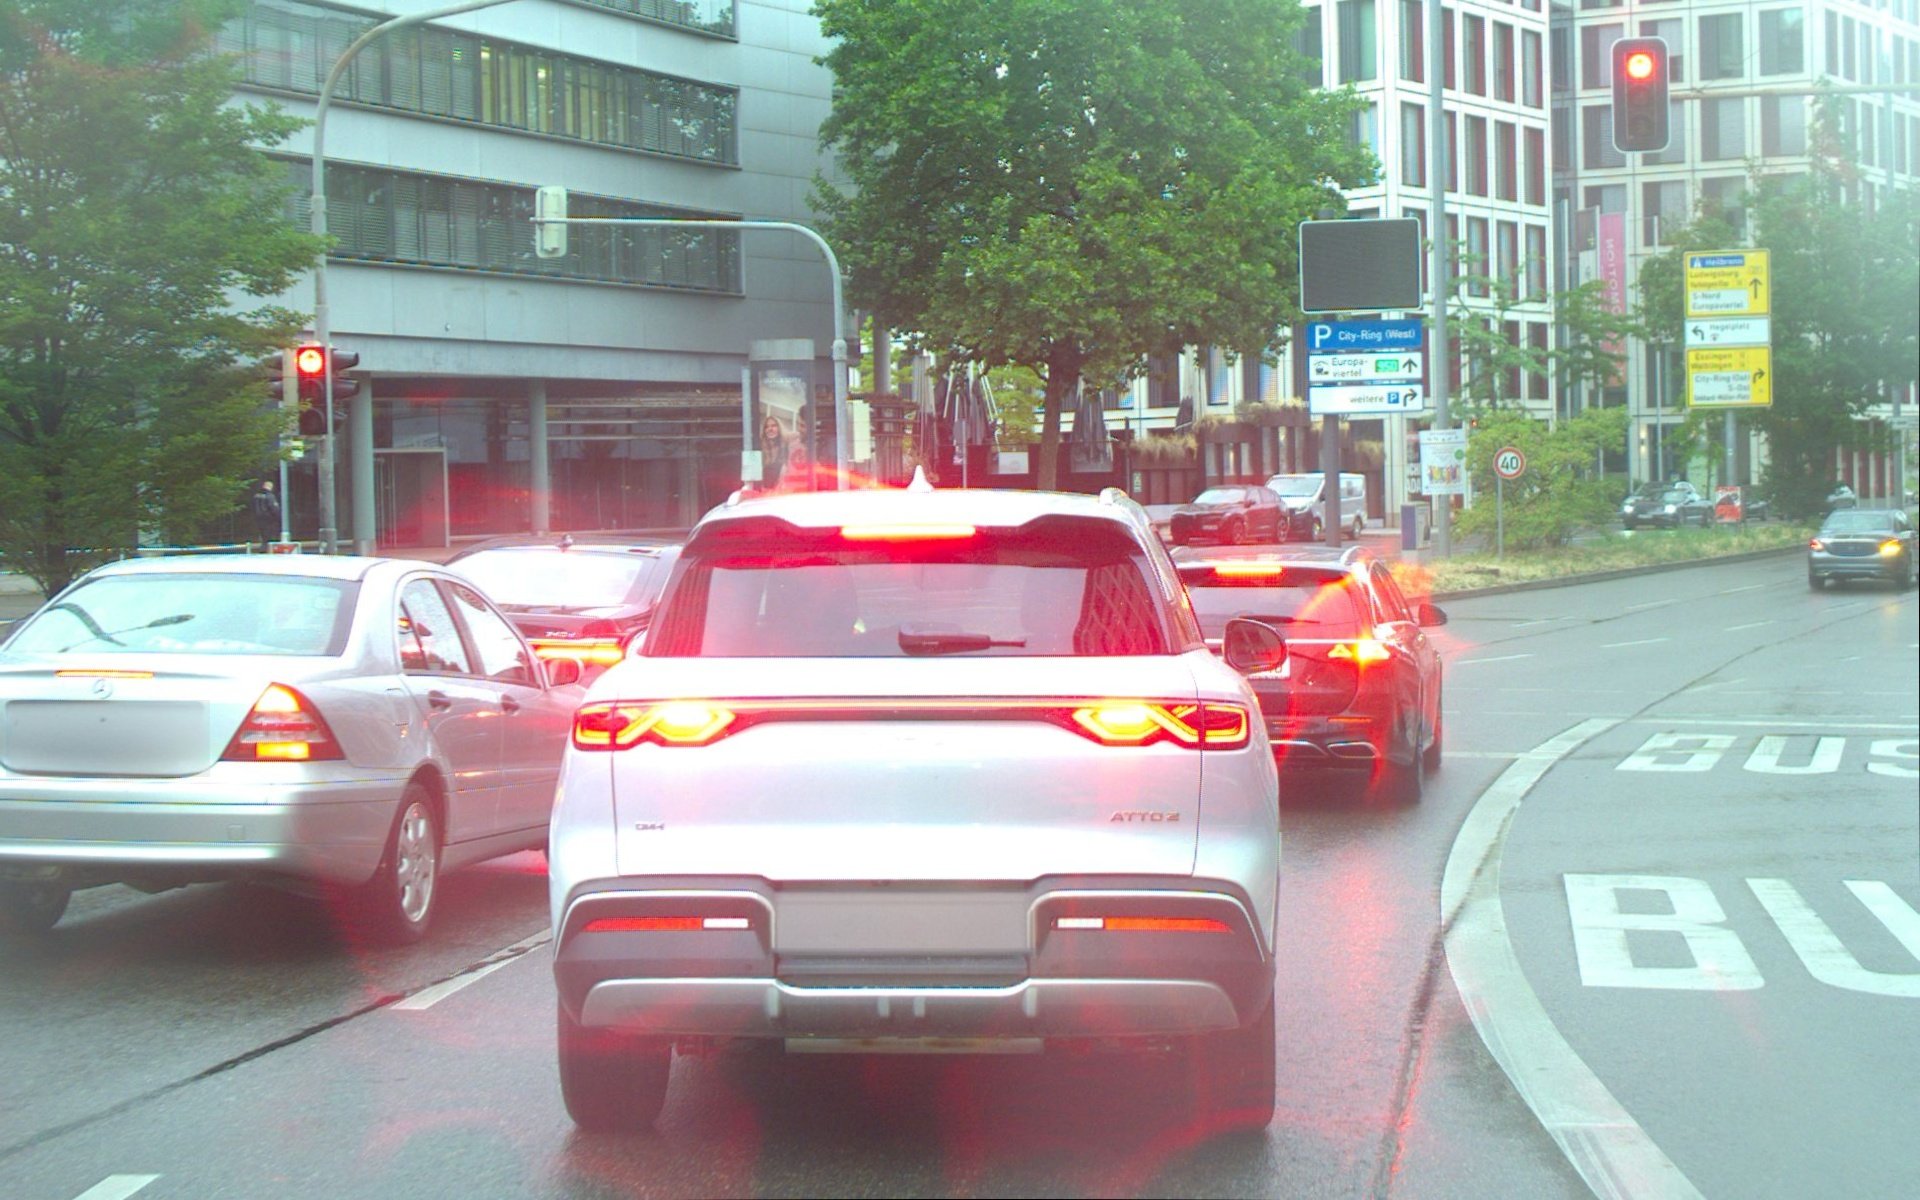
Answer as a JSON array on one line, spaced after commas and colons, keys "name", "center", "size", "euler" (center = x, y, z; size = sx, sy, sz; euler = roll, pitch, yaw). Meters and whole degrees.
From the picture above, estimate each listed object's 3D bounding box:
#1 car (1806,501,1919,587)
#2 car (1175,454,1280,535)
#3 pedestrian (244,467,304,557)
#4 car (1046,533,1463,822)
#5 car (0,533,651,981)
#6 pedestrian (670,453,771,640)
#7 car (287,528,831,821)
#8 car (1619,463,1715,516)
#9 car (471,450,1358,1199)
[{"name": "car", "center": [16.712, -1.054, 63.232], "size": [1.912, 1.505, 4.353], "euler": [1, 2, 18]}, {"name": "car", "center": [7.420, -2.889, 94.942], "size": [1.739, 2.154, 4.489], "euler": [1, 1, 20]}, {"name": "pedestrian", "center": [-13.263, -1.699, 66.450], "size": [0.728, 1.721, 0.924], "euler": [0, 1, 24]}, {"name": "car", "center": [1.867, 0.373, 20.584], "size": [1.956, 1.525, 3.998], "euler": [0, 1, 13]}, {"name": "car", "center": [-2.636, 0.492, 13.807], "size": [1.683, 1.481, 4.195], "euler": [0, 1, 11]}, {"name": "pedestrian", "center": [-2.244, -0.511, 32.316], "size": [0.922, 1.732, 0.730], "euler": [0, 1, -3]}, {"name": "car", "center": [-2.223, 0.347, 20.239], "size": [1.956, 1.525, 3.998], "euler": [0, 1, 13]}, {"name": "car", "center": [24.162, -3.793, 117.435], "size": [1.997, 1.700, 3.994], "euler": [1, 3, 31]}, {"name": "car", "center": [-0.164, 0.460, 10.002], "size": [1.993, 1.703, 4.483], "euler": [0, 1, -2]}]
